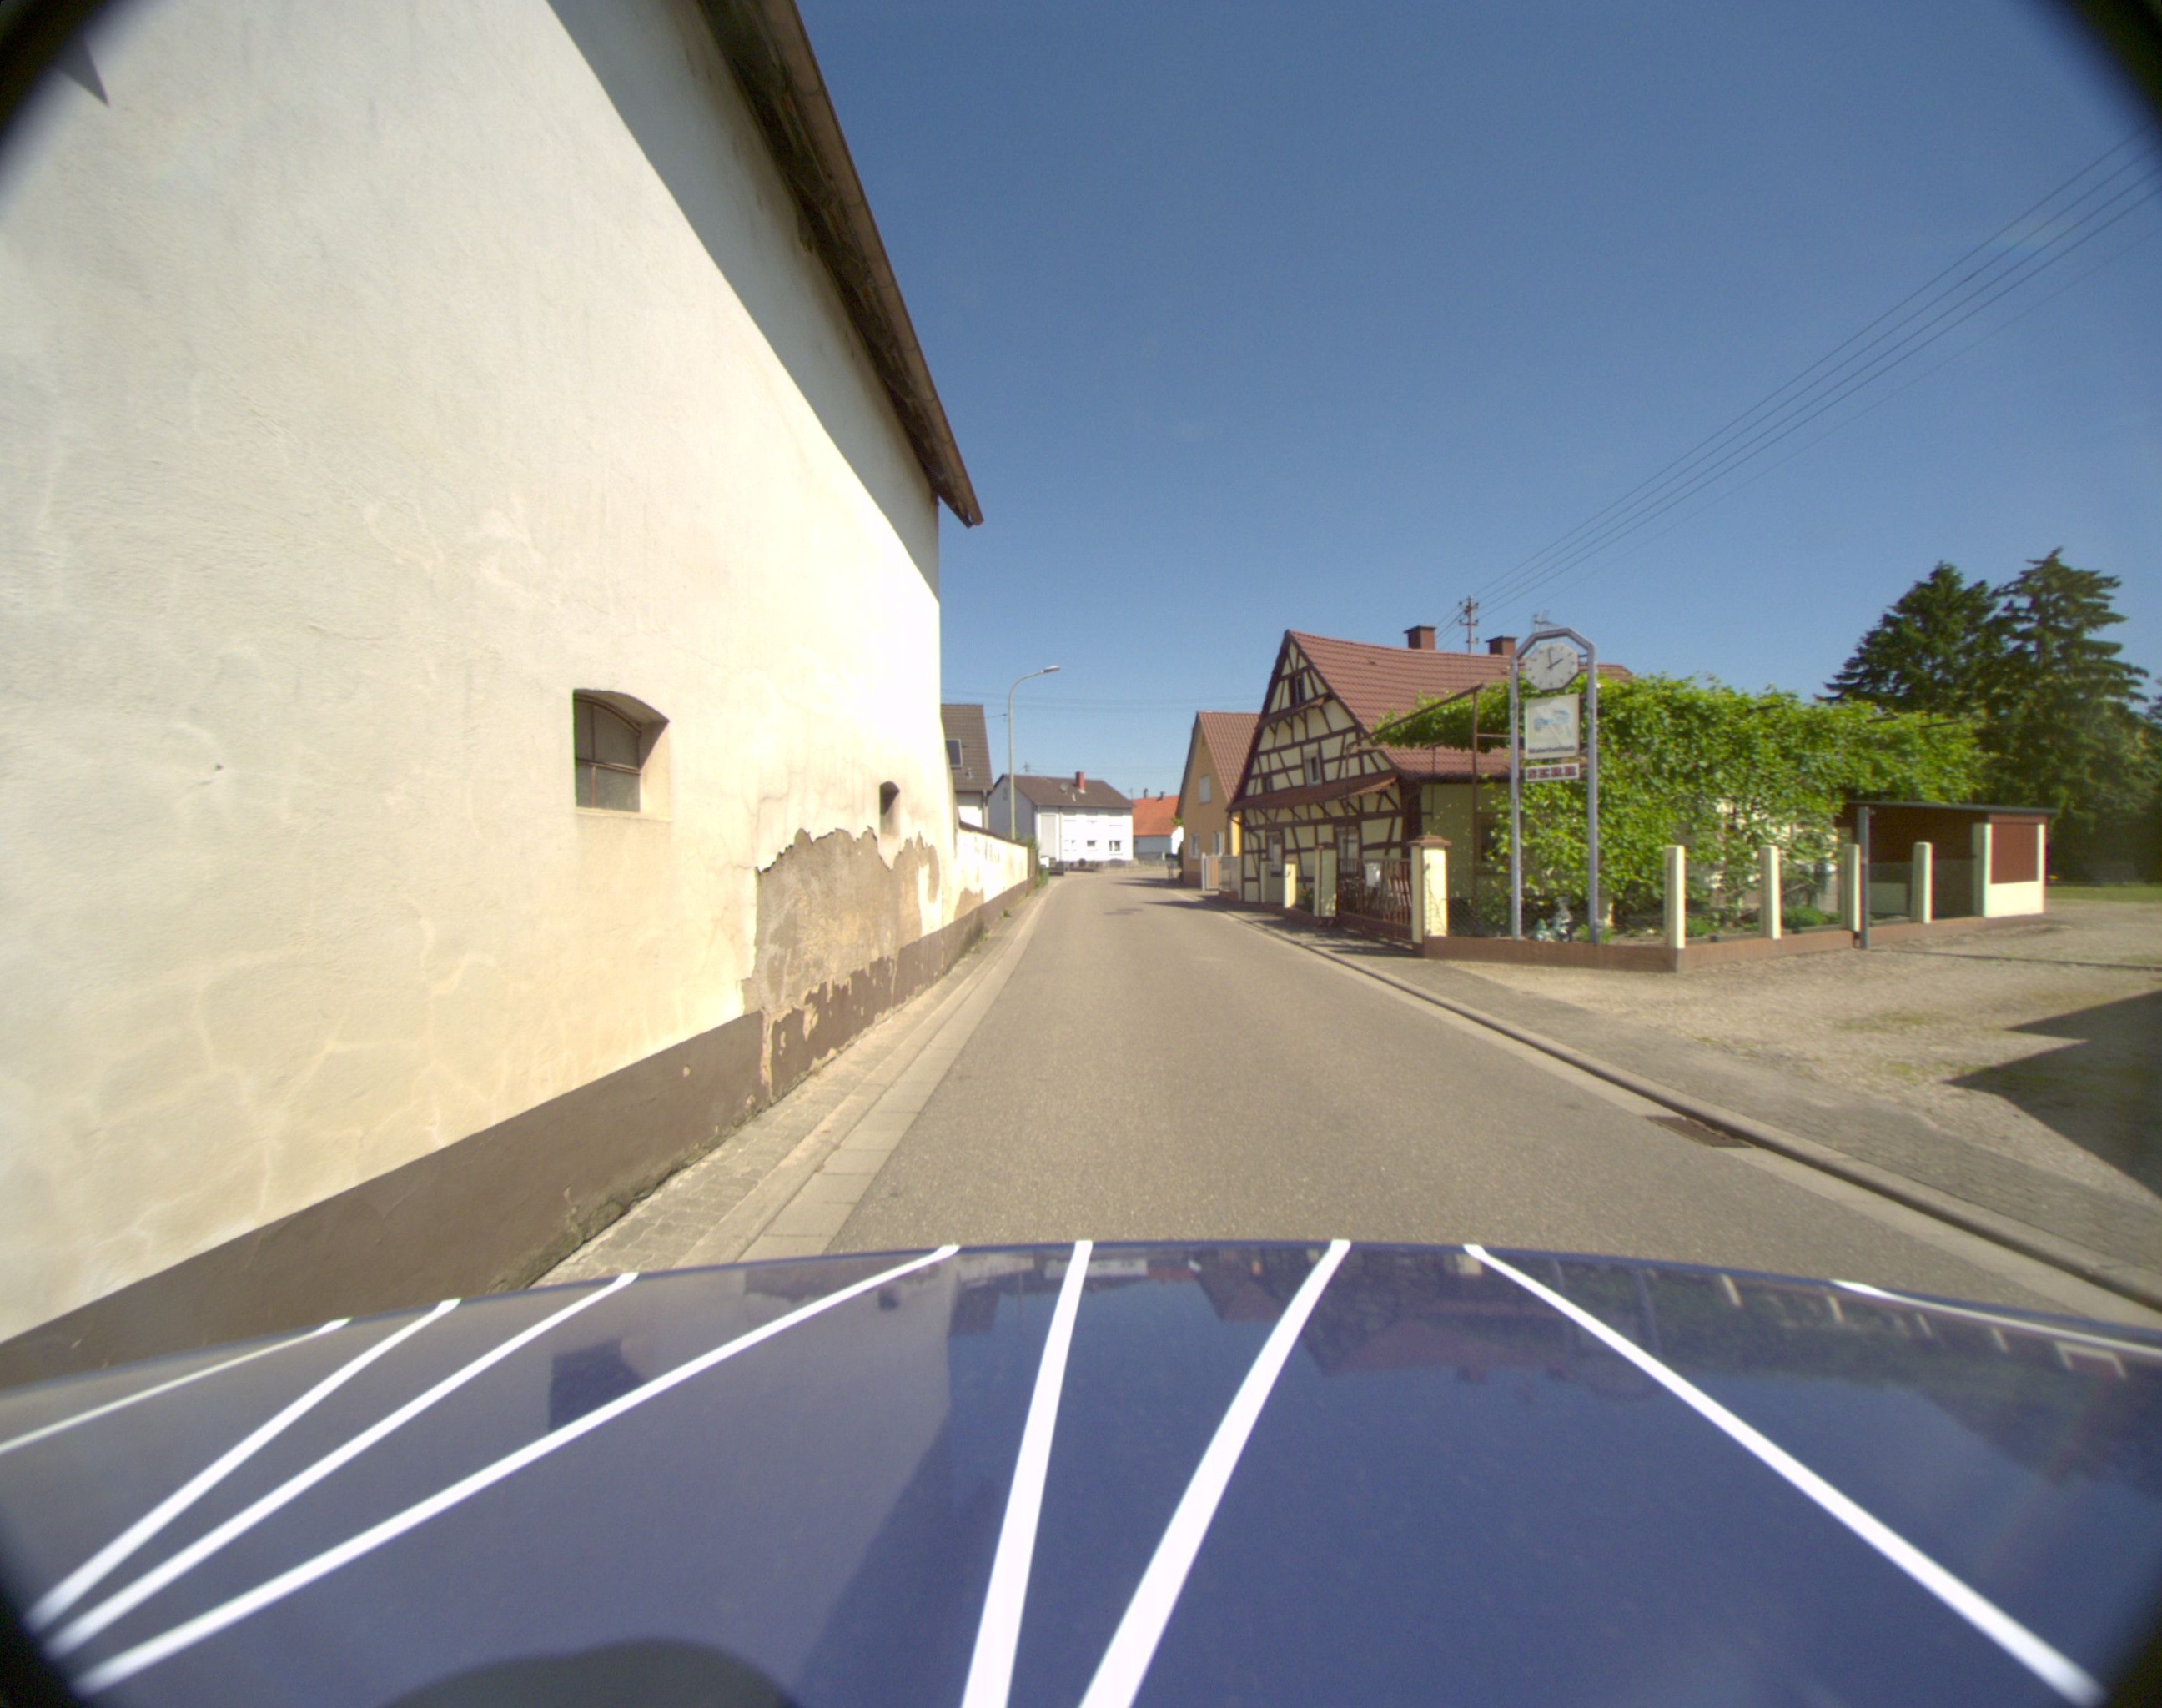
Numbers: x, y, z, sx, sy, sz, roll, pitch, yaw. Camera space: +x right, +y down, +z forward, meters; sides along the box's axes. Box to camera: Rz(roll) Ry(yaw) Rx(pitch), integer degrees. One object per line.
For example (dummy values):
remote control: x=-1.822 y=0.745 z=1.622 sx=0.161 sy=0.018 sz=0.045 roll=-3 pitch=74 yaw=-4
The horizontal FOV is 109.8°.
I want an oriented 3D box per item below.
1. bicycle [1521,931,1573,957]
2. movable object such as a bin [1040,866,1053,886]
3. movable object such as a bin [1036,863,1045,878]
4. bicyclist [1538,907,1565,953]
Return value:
bicycle: x=6.114 y=1.178 z=9.977 sx=0.534 sy=0.303 sz=0.220 roll=-1 pitch=1 yaw=16
movable object such as a bin: x=-1.767 y=1.112 z=38.719 sx=0.552 sy=0.971 sz=0.432 roll=-1 pitch=1 yaw=-25
movable object such as a bin: x=-2.609 y=1.063 z=49.204 sx=0.505 sy=0.971 sz=0.433 roll=-2 pitch=1 yaw=0
bicyclist: x=6.166 y=0.987 z=9.953 sx=0.246 sy=0.579 sz=0.218 roll=-1 pitch=1 yaw=16
